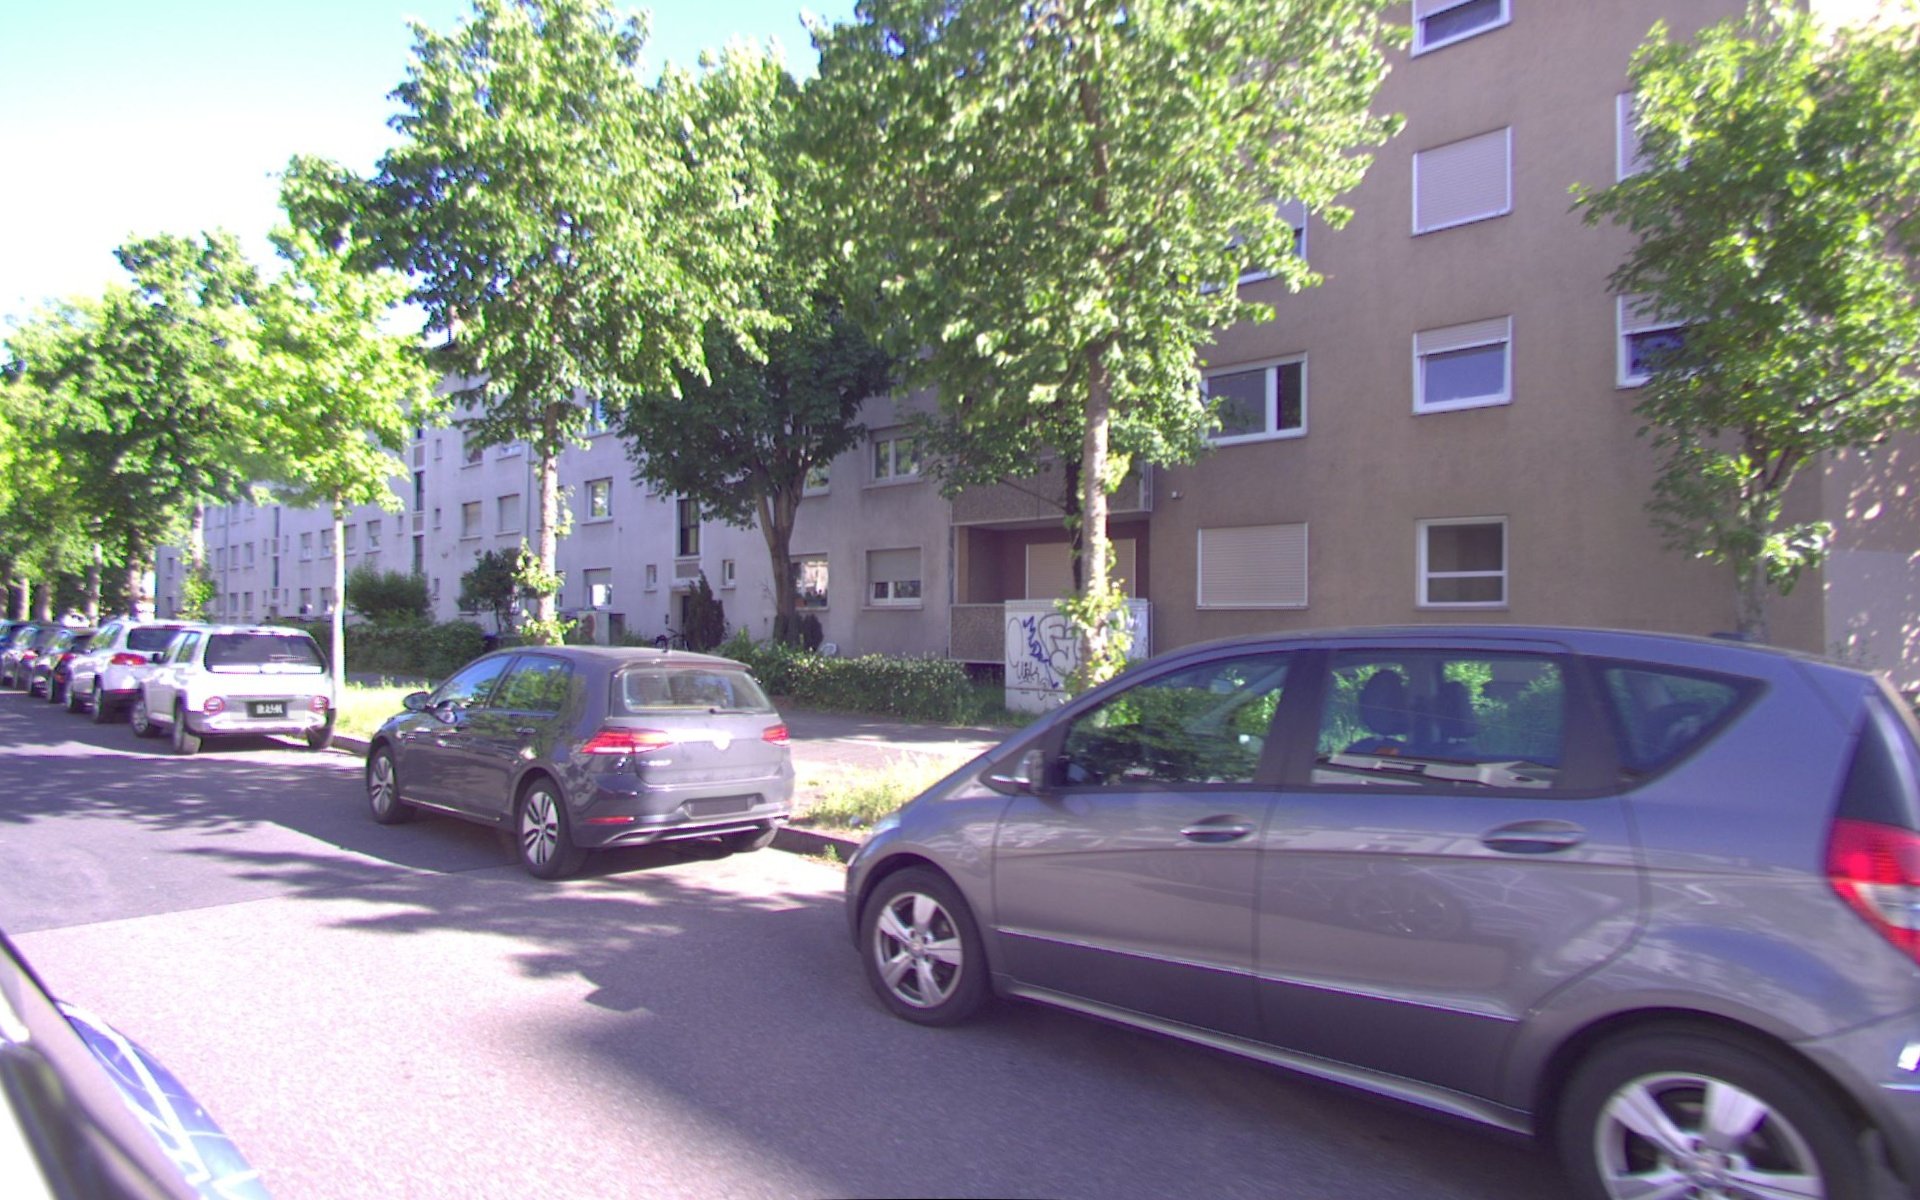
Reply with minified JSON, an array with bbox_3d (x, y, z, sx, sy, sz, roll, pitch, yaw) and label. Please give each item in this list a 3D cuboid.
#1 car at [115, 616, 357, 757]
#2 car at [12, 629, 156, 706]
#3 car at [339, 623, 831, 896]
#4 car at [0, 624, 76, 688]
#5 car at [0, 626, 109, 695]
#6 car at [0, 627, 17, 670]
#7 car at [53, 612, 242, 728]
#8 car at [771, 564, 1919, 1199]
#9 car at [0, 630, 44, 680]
[{"bbox_3d":[-9.738,1.016,13.513,3.997,1.538,1.699,0,1,40],"label":"car"},{"bbox_3d":[-18.100,1.314,20.850,4.234,1.402,1.640,-1,-2,41],"label":"car"},{"bbox_3d":[-2.954,0.922,7.525,4.089,1.405,1.643,0,1,40],"label":"car"},{"bbox_3d":[-25.405,1.457,27.240,4.406,1.597,1.796,-1,-3,41],"label":"car"},{"bbox_3d":[-21.696,1.375,24.021,3.965,1.456,1.632,0,-2,41],"label":"car"},{"bbox_3d":[-34.131,1.653,34.921,4.181,1.385,1.855,0,-2,41],"label":"car"},{"bbox_3d":[-13.701,1.076,16.981,4.221,1.692,1.686,0,-2,41],"label":"car"},{"bbox_3d":[1.287,0.751,3.759,4.106,1.574,1.702,0,-2,41],"label":"car"},{"bbox_3d":[-29.245,1.619,30.557,4.066,1.385,1.855,0,-2,41],"label":"car"}]
